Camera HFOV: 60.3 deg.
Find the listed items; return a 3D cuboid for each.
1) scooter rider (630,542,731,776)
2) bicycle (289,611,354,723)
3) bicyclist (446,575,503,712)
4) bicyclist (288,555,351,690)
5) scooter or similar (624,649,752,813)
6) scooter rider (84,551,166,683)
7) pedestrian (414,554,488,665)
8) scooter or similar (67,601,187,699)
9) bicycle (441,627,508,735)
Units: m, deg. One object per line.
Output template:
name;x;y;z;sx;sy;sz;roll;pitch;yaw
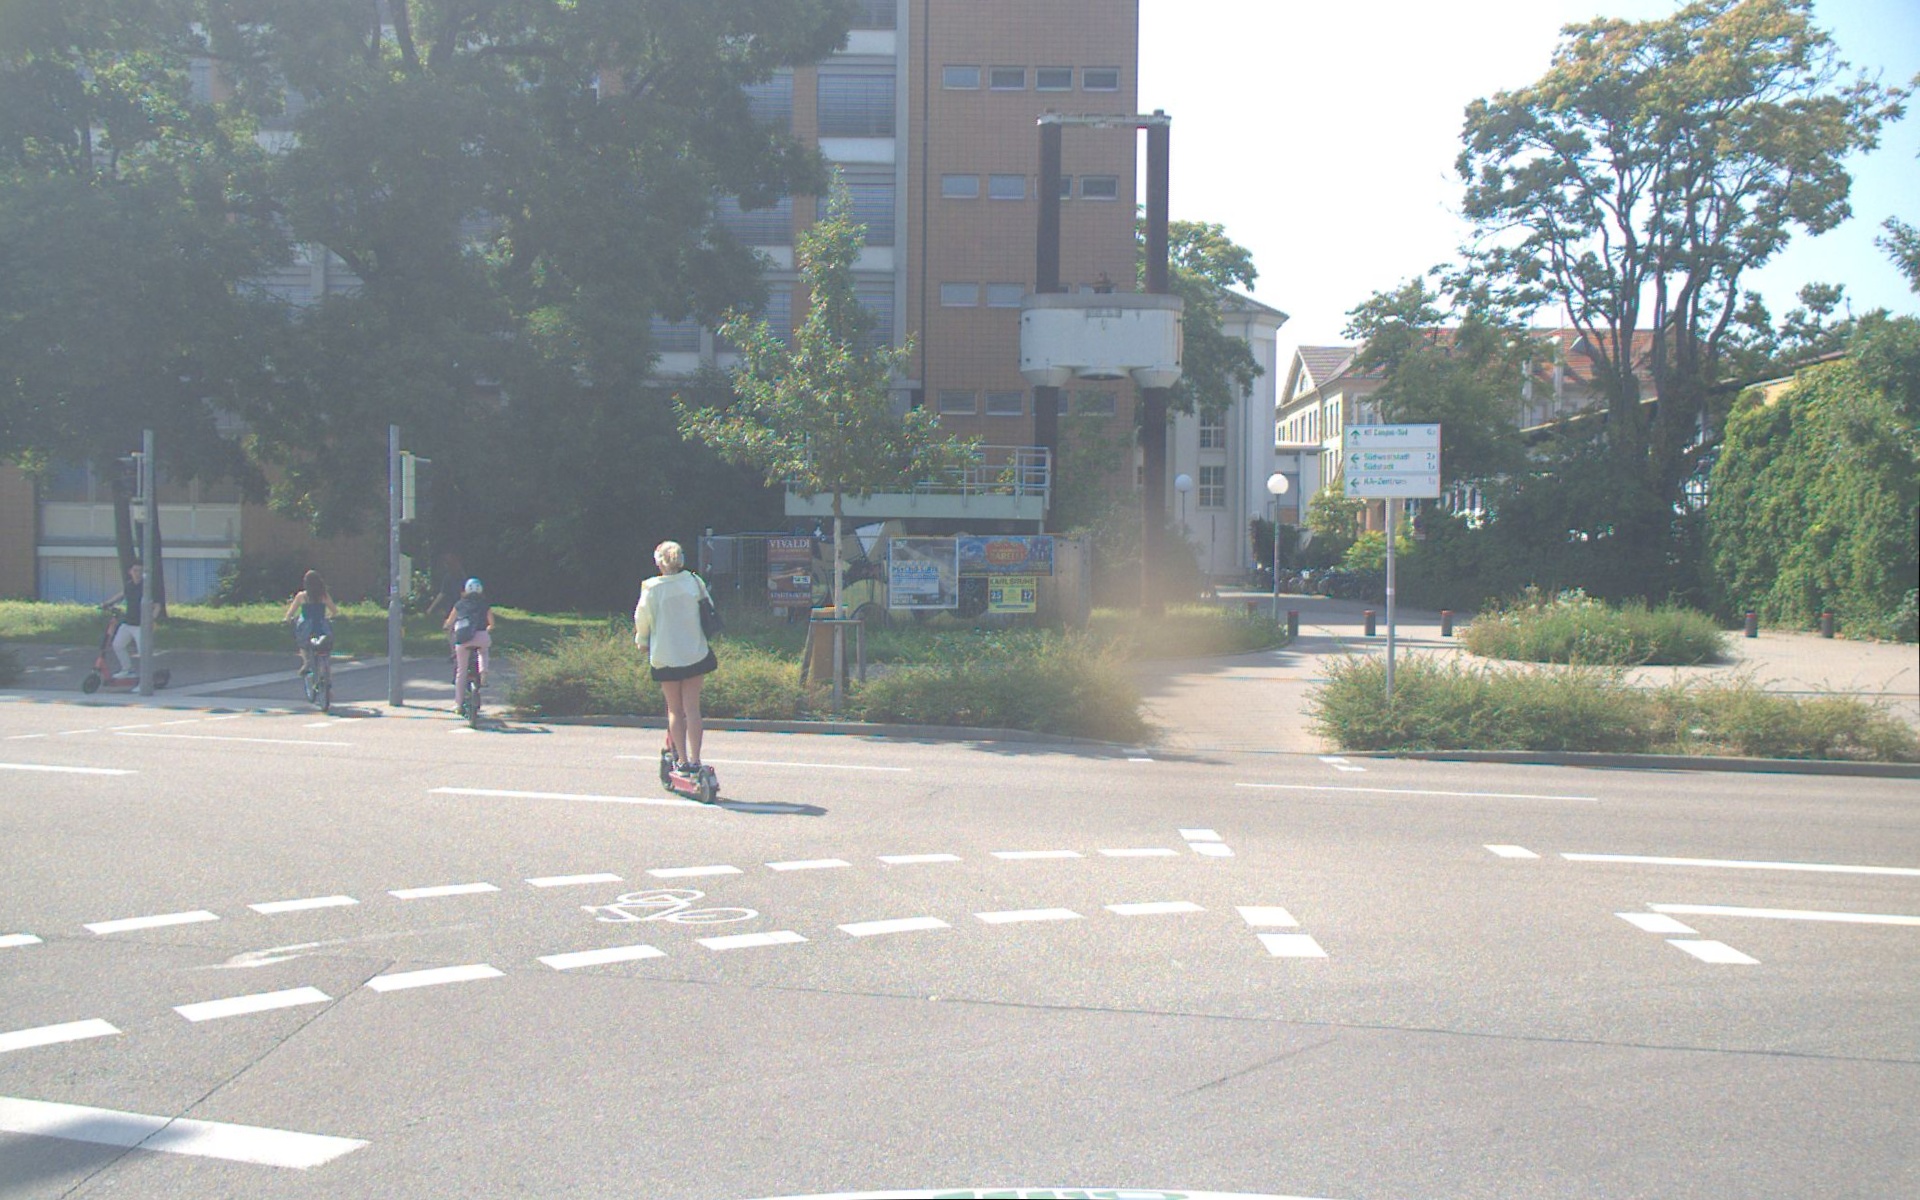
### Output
scooter rider;-2.134;0.435;12.612;0.661;1.729;0.535;0;0;-22
bicycle;-7.973;0.797;20.619;0.684;1.174;2.355;-1;3;-22
bicyclist;-5.552;0.483;18.906;0.541;1.522;0.798;0;1;-23
bicyclist;-8.058;0.261;20.791;0.681;1.626;0.838;-2;3;-23
scooter or similar;-2.082;0.938;12.484;0.548;1.078;1.991;0;0;-22
scooter rider;-11.473;0.218;22.742;0.676;1.769;0.800;1;2;42
pedestrian;-8.186;0.137;26.598;0.858;1.734;0.708;1;3;18
scooter or similar;-11.480;0.673;22.823;0.575;1.256;1.360;1;2;42
bicycle;-5.596;0.897;19.014;0.548;1.078;1.991;0;1;-22
